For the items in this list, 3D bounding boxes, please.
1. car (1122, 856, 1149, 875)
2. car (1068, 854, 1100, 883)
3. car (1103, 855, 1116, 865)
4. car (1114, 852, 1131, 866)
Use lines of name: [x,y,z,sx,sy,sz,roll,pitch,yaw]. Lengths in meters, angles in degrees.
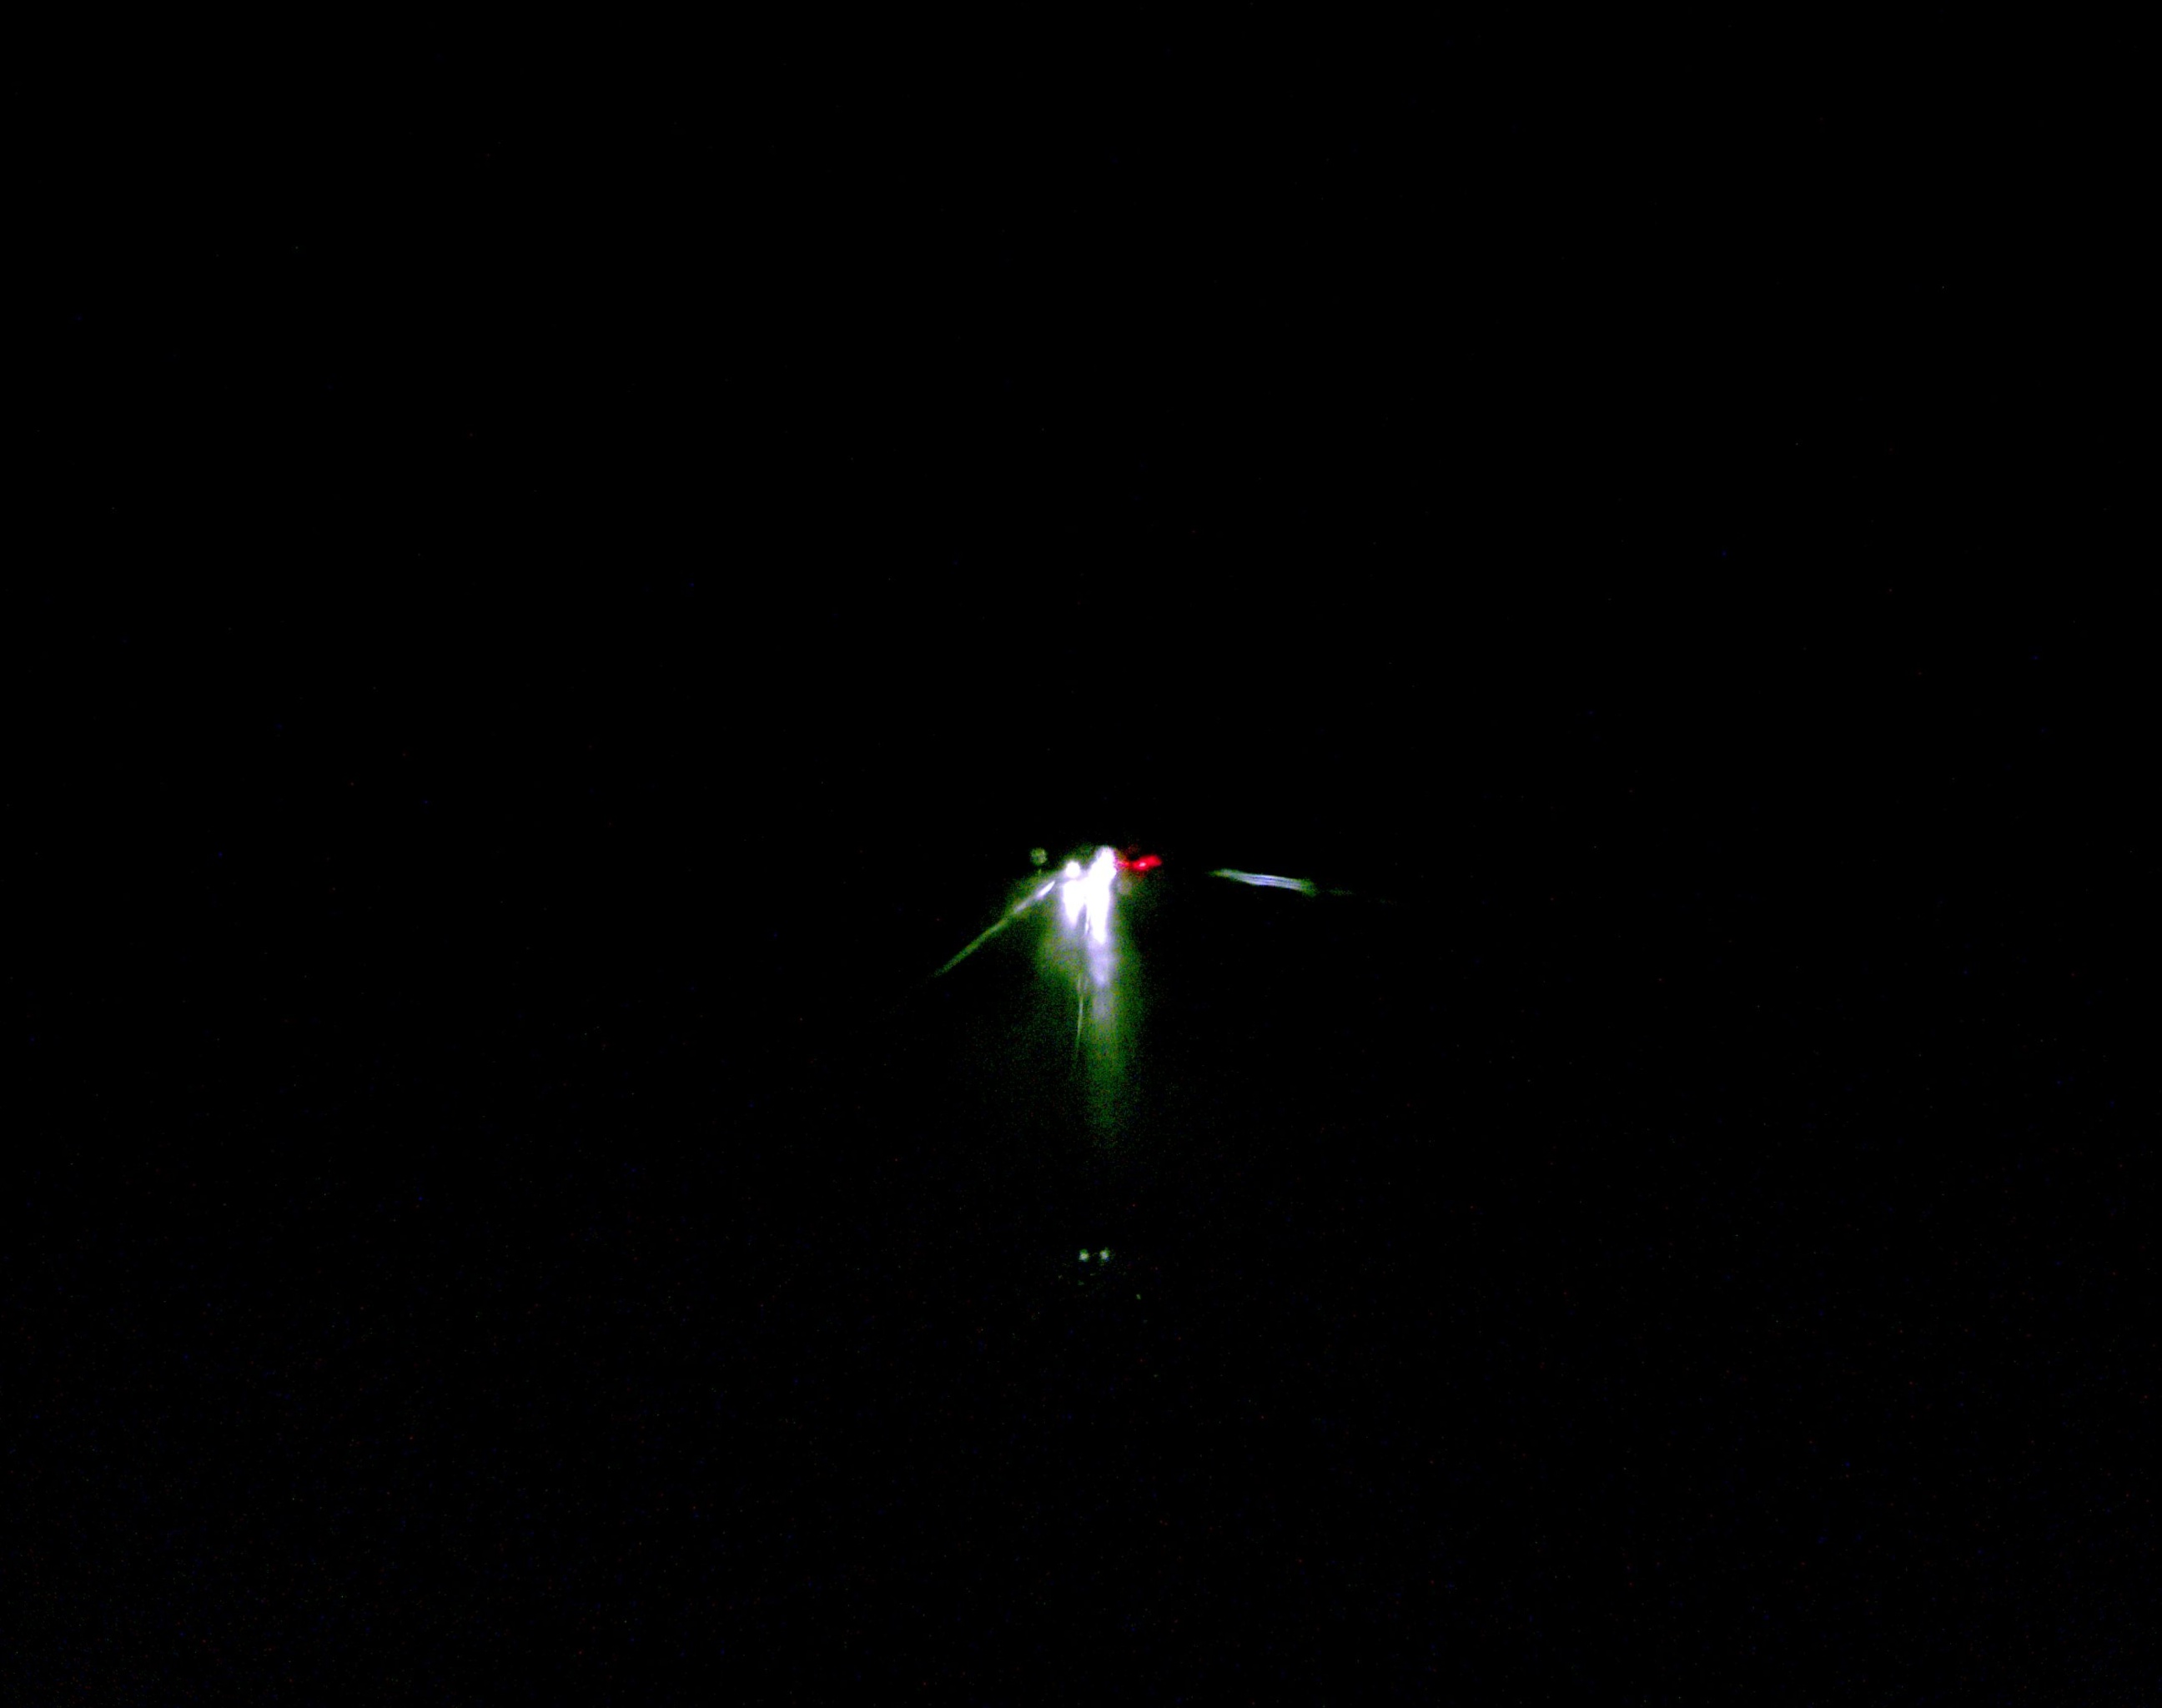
car: [4.392,0.921,61.668,1.841,1.462,4.391,-1,0,0]
car: [0.221,0.929,50.624,1.998,1.804,4.000,-1,0,1]
car: [4.260,0.901,114.178,1.833,1.447,3.793,1,-1,0]
car: [4.919,0.639,90.593,1.936,1.577,4.001,1,-1,1]
